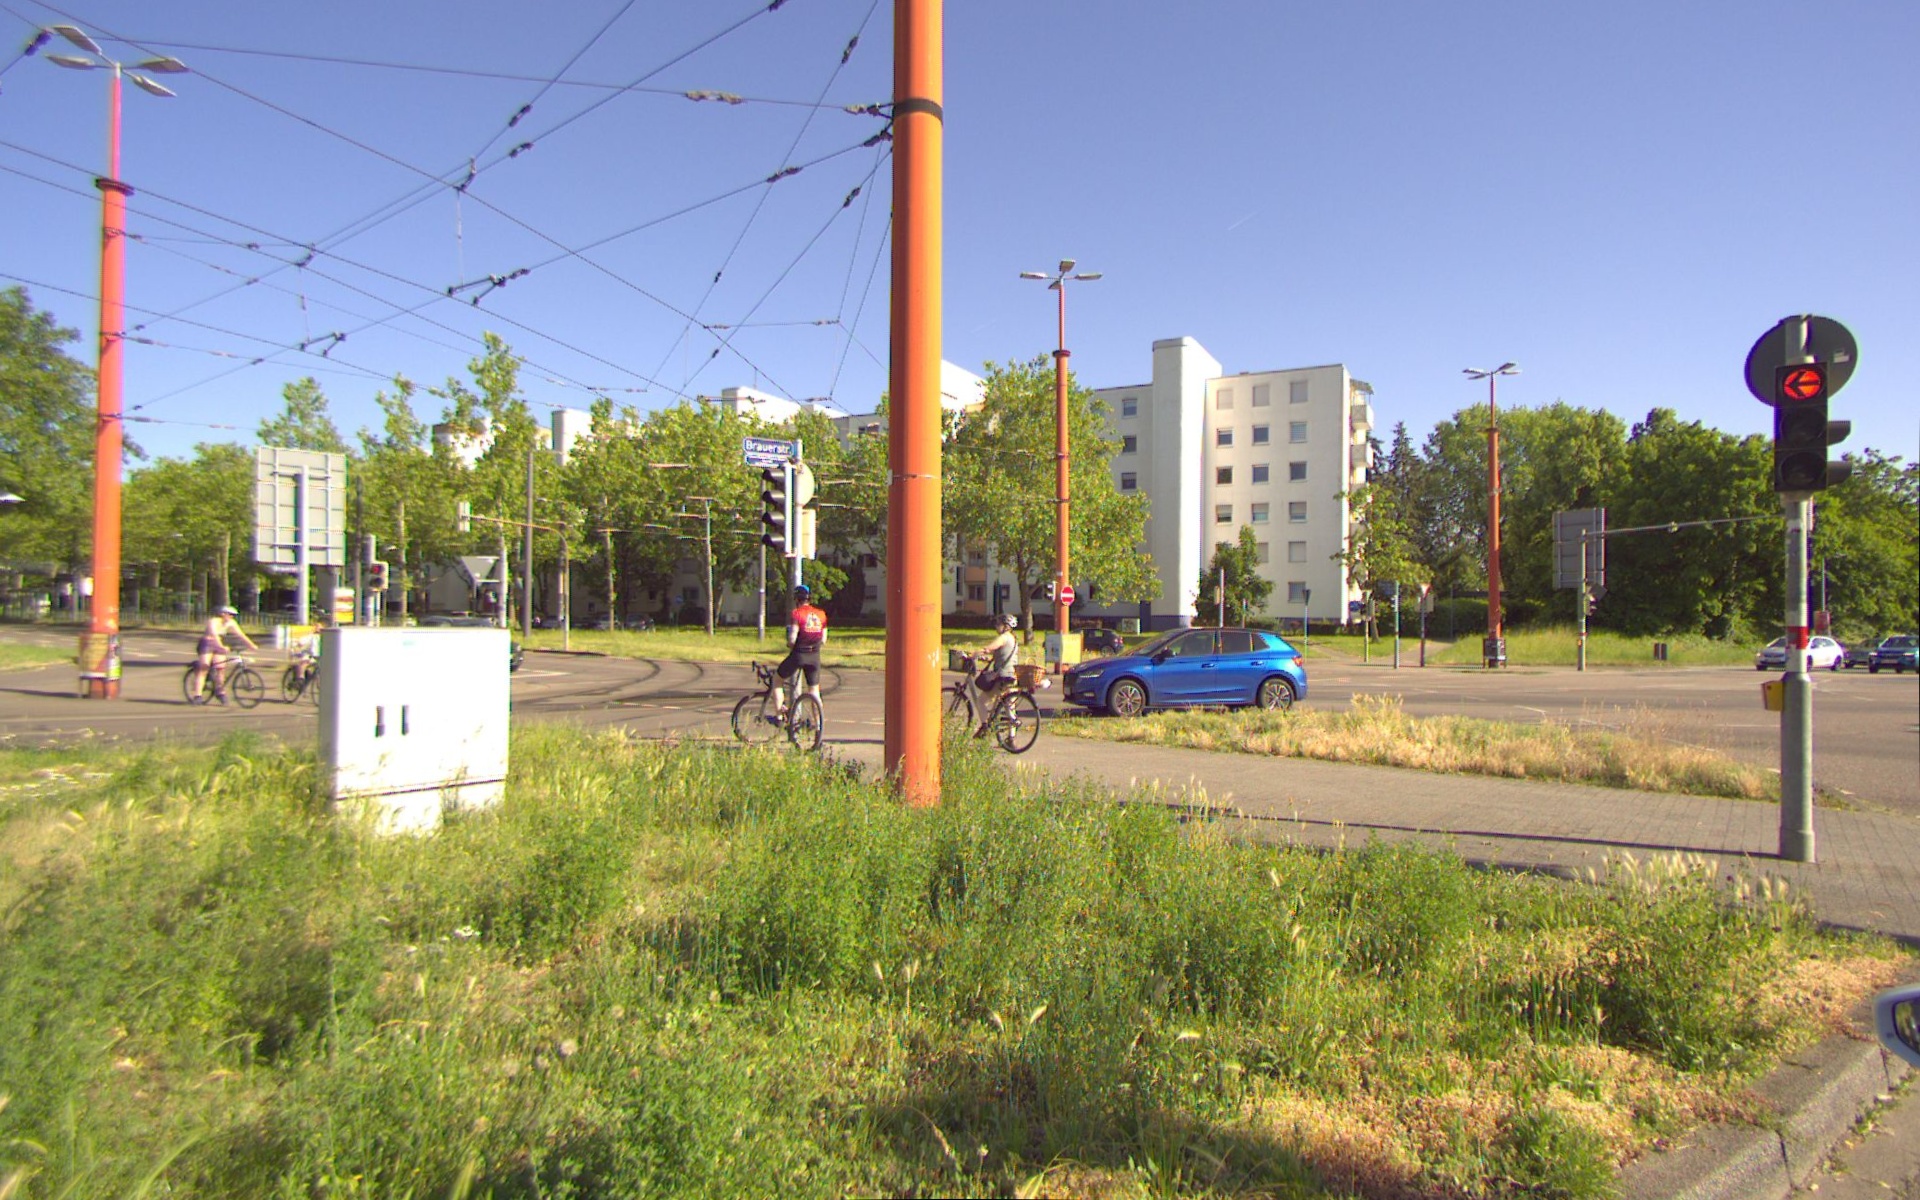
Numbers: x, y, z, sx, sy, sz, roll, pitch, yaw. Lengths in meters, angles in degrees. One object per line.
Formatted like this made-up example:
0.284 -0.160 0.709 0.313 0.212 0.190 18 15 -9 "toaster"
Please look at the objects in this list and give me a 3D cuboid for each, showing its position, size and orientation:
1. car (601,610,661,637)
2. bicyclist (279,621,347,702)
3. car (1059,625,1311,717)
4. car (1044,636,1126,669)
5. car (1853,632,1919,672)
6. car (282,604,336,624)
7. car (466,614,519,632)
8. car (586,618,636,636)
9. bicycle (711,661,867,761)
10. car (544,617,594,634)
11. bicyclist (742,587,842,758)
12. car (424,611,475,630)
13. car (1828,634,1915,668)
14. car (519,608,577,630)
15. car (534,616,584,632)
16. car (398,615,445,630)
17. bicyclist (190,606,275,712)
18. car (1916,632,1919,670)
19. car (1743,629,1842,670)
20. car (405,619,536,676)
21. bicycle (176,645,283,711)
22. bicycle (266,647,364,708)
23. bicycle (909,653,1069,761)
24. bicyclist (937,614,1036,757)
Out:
-23.652 1.702 72.303 3.874 1.841 1.651 2 0 -13 "car"
-12.884 1.200 20.010 0.906 1.545 0.720 2 0 20 "bicyclist"
3.713 1.172 16.891 3.836 1.439 1.577 1 -1 -7 "car"
6.134 2.550 49.215 3.869 1.522 1.840 0 -2 10 "car"
37.310 2.046 39.766 3.813 1.535 1.793 1 -3 -30 "car"
-66.284 1.461 102.368 4.274 2.010 1.932 1 -1 -19 "car"
-38.824 1.917 83.397 3.665 1.349 1.496 2 0 -8 "car"
-25.816 1.995 74.320 3.279 1.149 1.321 2 0 -11 "car"
-2.064 1.284 12.009 1.883 1.085 0.690 -2 -2 33 "bicycle"
-29.313 1.889 75.348 3.219 1.172 1.357 2 0 -12 "car"
-1.998 0.841 11.968 0.974 1.938 0.685 -1 -2 33 "bicyclist"
-43.243 1.760 85.108 3.592 1.480 1.608 2 0 -19 "car"
43.150 2.382 47.532 3.952 1.533 1.877 1 -2 -29 "car"
-32.533 1.505 79.440 3.868 1.614 1.656 2 0 -8 "car"
-30.881 1.856 77.445 3.346 1.162 1.305 2 0 -13 "car"
-46.610 1.923 86.963 3.370 1.204 1.439 2 0 -23 "car"
-13.587 1.081 18.782 0.905 1.892 0.893 2 0 17 "bicyclist"
42.621 2.176 42.716 3.955 1.575 1.891 2 -2 -32 "car"
35.380 2.117 42.688 4.168 1.673 1.869 2 -3 -29 "car"
-15.191 1.423 31.124 3.977 1.516 1.913 2 0 34 "car"
-13.630 1.437 18.740 1.877 1.086 0.580 2 0 17 "bicycle"
-12.846 1.534 20.003 1.878 1.086 0.580 2 0 19 "bicycle"
0.326 1.251 12.191 1.887 1.146 0.737 0 -1 41 "bicycle"
0.326 1.001 12.232 0.815 1.643 0.888 0 -1 41 "bicyclist"
